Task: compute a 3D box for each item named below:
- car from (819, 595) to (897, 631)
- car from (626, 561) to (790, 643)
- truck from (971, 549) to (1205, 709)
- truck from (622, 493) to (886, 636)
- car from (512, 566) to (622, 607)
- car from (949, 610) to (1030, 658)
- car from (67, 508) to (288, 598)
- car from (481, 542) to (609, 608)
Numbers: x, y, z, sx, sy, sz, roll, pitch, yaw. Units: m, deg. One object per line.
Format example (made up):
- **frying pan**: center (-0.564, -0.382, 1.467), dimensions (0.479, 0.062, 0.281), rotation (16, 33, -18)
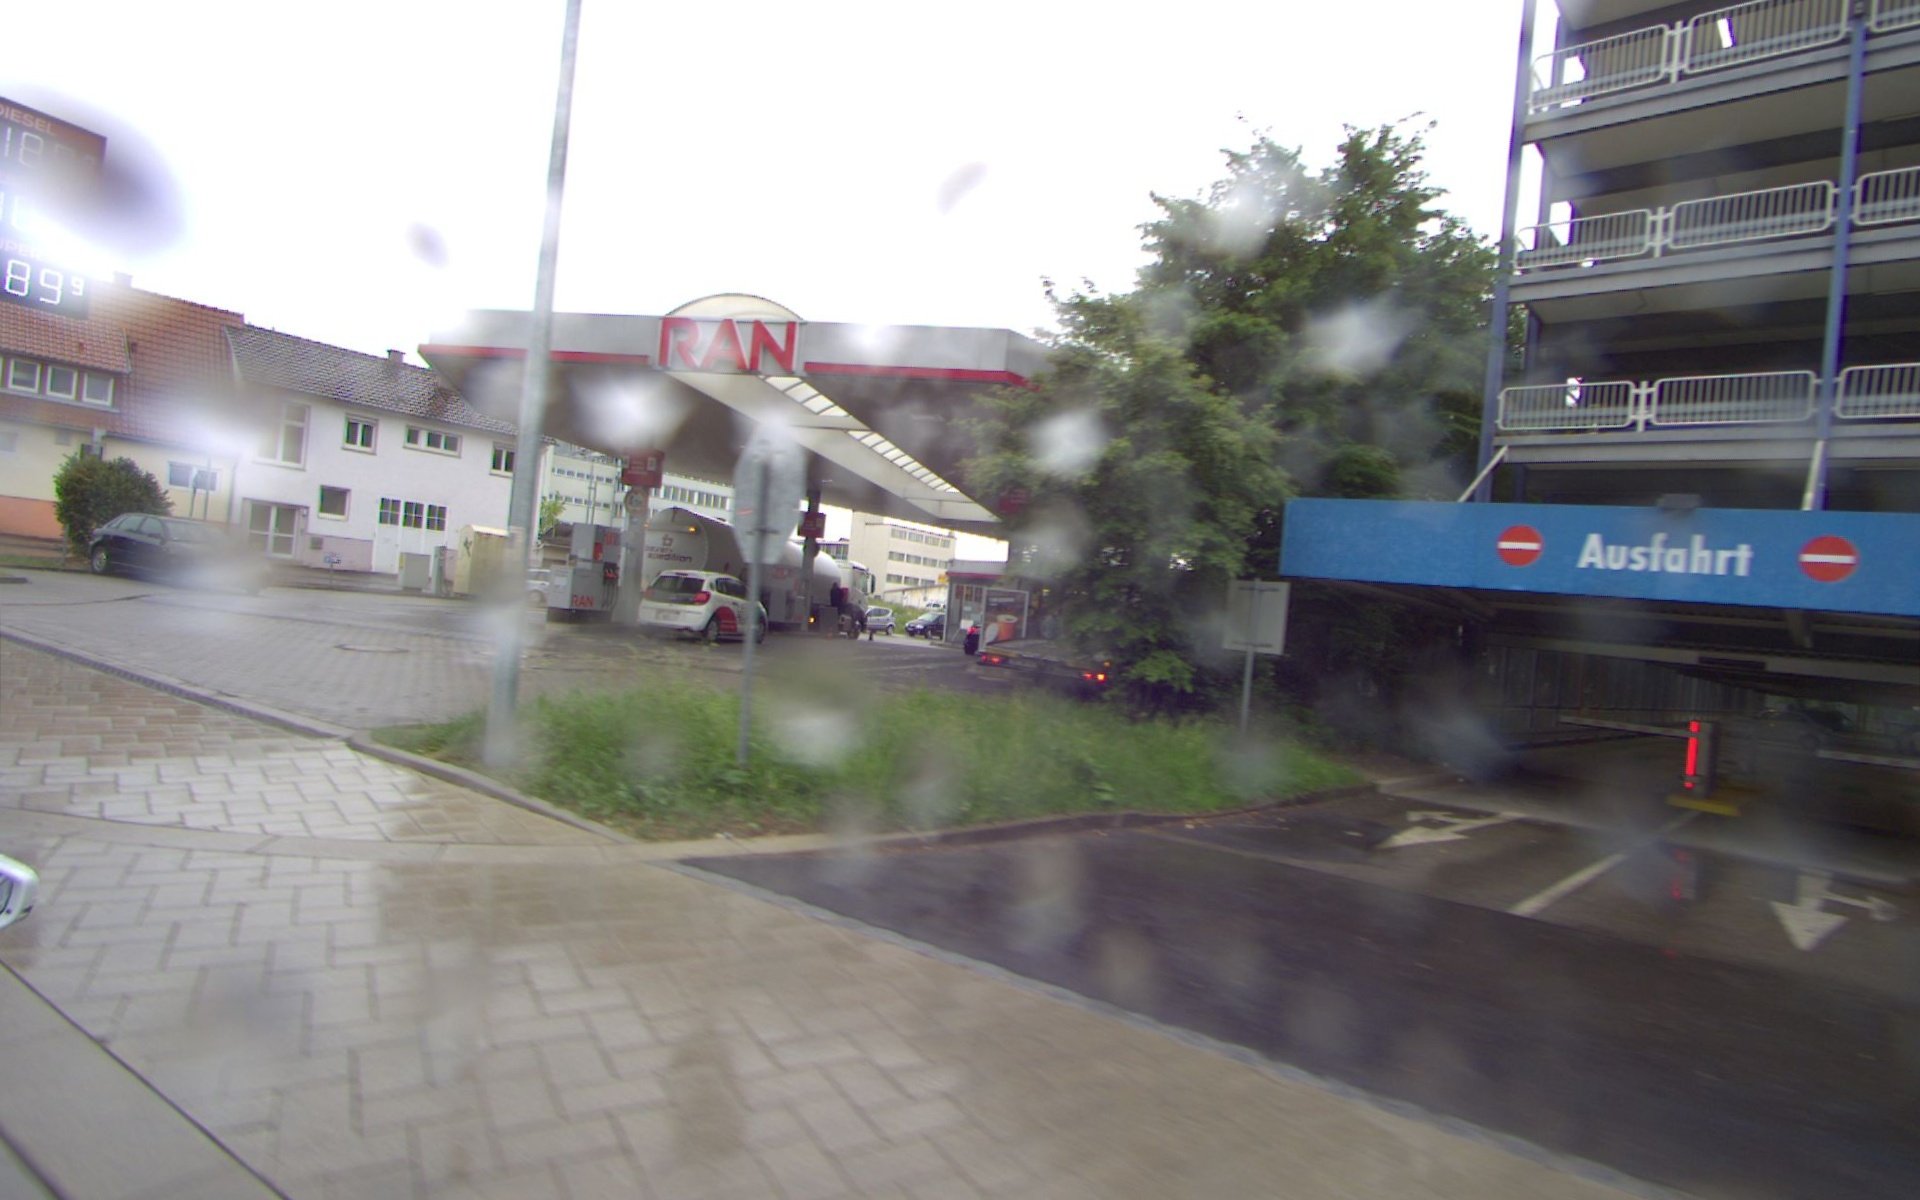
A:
- **car**: center (-6.090, 0.820, 60.373), dimensions (1.974, 1.609, 4.172), rotation (9, 1, 45)
- **car**: center (-5.435, 0.119, 22.233), dimensions (1.742, 1.444, 4.002), rotation (7, -1, 13)
- **truck**: center (2.785, 0.548, 19.295), dimensions (2.048, 2.235, 7.289), rotation (10, 2, 25)
- **truck**: center (-6.395, -0.783, 35.433), dimensions (2.597, 3.399, 14.425), rotation (9, -1, 15)
- **car**: center (-18.233, -0.599, 46.793), dimensions (1.971, 1.394, 4.240), rotation (7, 1, 40)
- **car**: center (0.980, 1.022, 30.967), dimensions (1.709, 1.227, 4.002), rotation (5, 0, 12)
- **car**: center (-16.721, -1.009, 21.502), dimensions (4.260, 1.356, 1.694), rotation (7, 0, 21)
- **car**: center (-15.930, -0.925, 38.789), dimensions (1.969, 2.038, 3.988), rotation (7, 0, 35)
